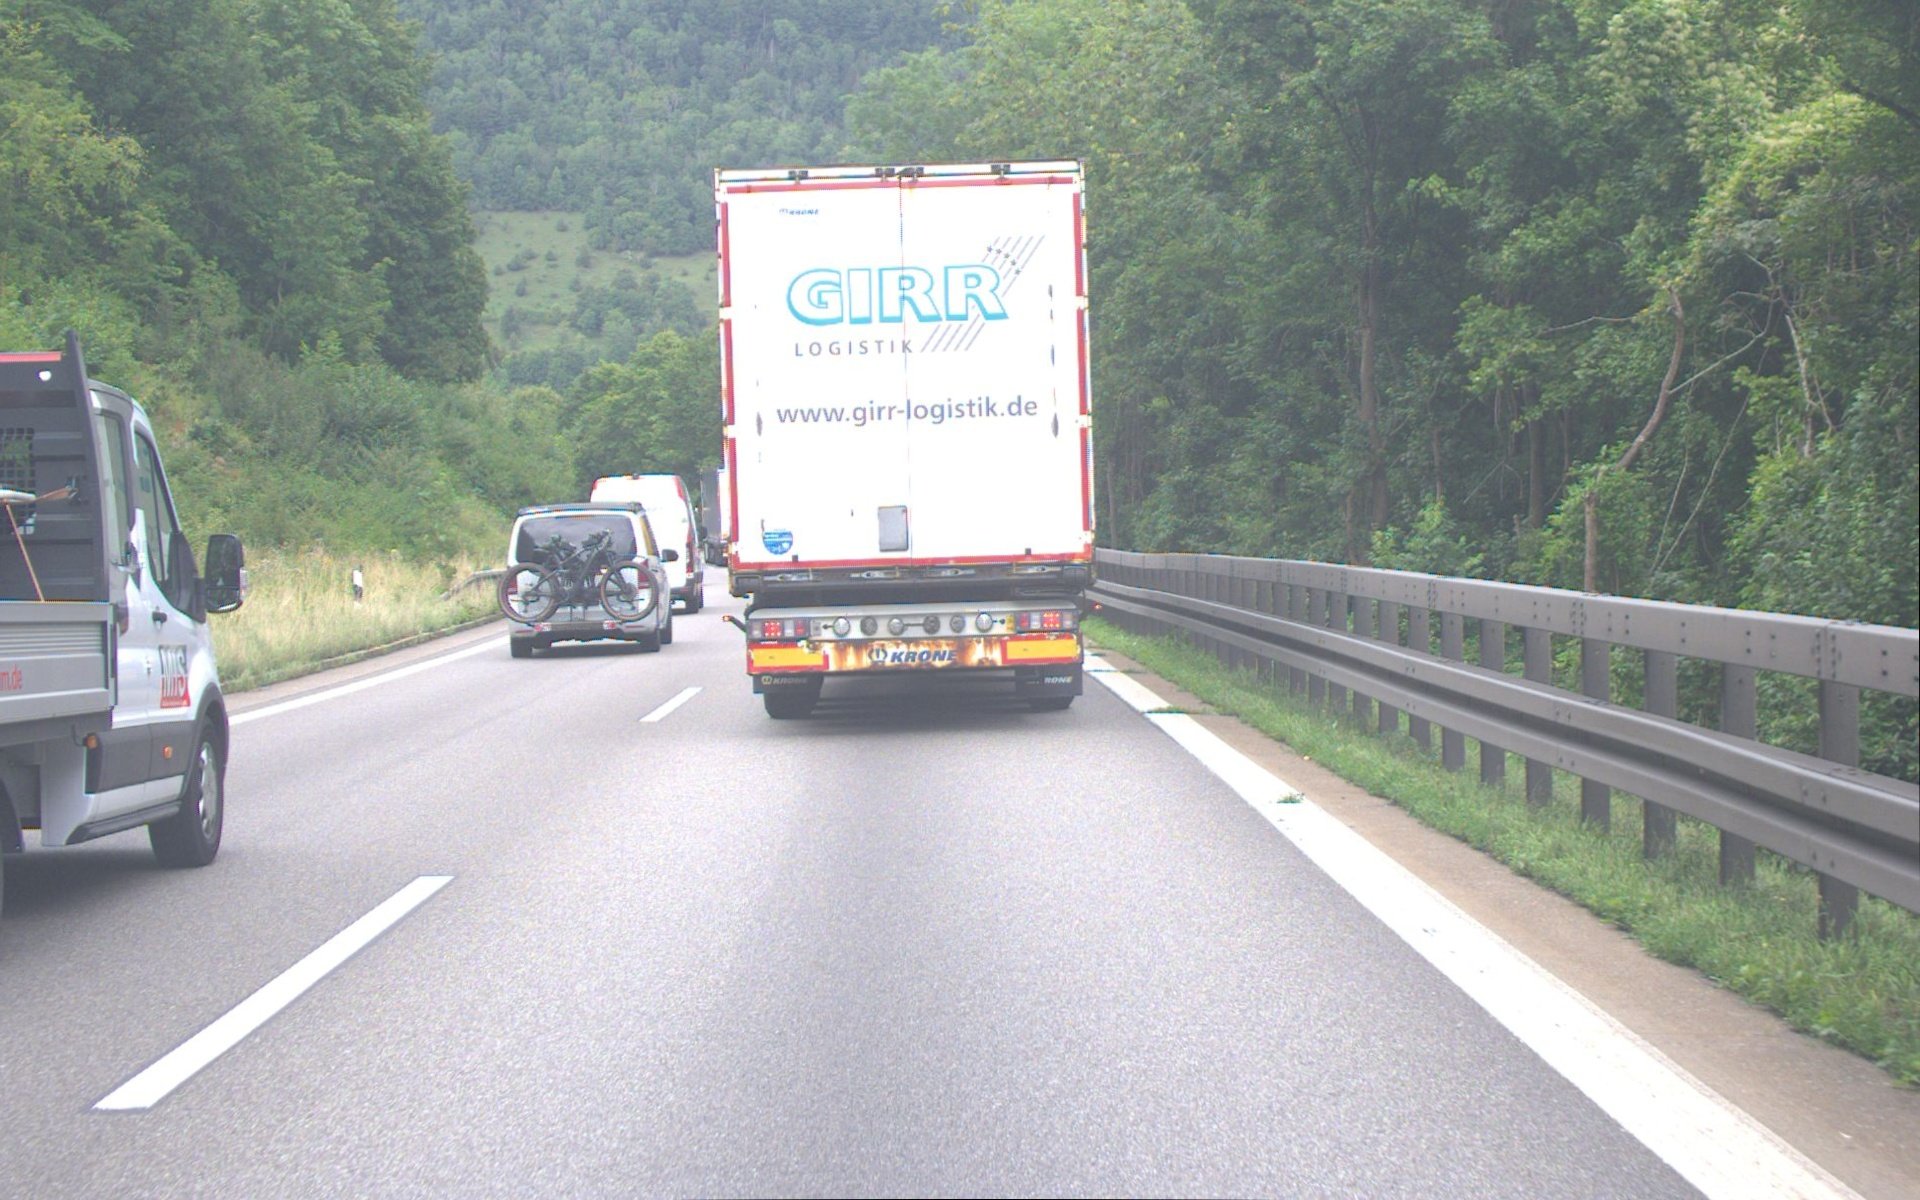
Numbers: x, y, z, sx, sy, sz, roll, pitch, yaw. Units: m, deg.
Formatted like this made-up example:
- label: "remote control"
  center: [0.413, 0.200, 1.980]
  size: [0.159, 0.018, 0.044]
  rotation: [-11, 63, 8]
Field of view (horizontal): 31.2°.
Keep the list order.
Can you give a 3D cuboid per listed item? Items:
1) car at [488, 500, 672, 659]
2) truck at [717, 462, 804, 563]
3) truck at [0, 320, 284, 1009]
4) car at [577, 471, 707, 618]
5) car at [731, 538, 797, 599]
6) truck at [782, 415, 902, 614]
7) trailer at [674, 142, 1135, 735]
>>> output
- label: "car"
  center: [-4.880, -0.320, 44.859]
  size: [2.018, 1.907, 5.564]
  rotation: [-1, 2, -3]
- label: "truck"
  center: [-8.114, -3.492, 138.835]
  size: [3.068, 3.864, 8.460]
  rotation: [-1, 1, -6]
- label: "truck"
  center: [-4.424, 0.175, 13.577]
  size: [2.349, 2.266, 6.850]
  rotation: [-1, 1, -2]
- label: "car"
  center: [-5.948, -1.077, 64.947]
  size: [2.123, 2.589, 5.564]
  rotation: [-2, 2, -3]
- label: "car"
  center: [-6.723, -1.097, 117.632]
  size: [1.993, 2.007, 4.001]
  rotation: [-1, 1, -6]
- label: "truck"
  center: [-2.449, -1.701, 69.631]
  size: [2.233, 3.791, 6.824]
  rotation: [-1, 1, -3]
- label: "trailer"
  center: [-0.401, -1.218, 28.137]
  size: [3.133, 4.029, 9.440]
  rotation: [0, 1, 0]
